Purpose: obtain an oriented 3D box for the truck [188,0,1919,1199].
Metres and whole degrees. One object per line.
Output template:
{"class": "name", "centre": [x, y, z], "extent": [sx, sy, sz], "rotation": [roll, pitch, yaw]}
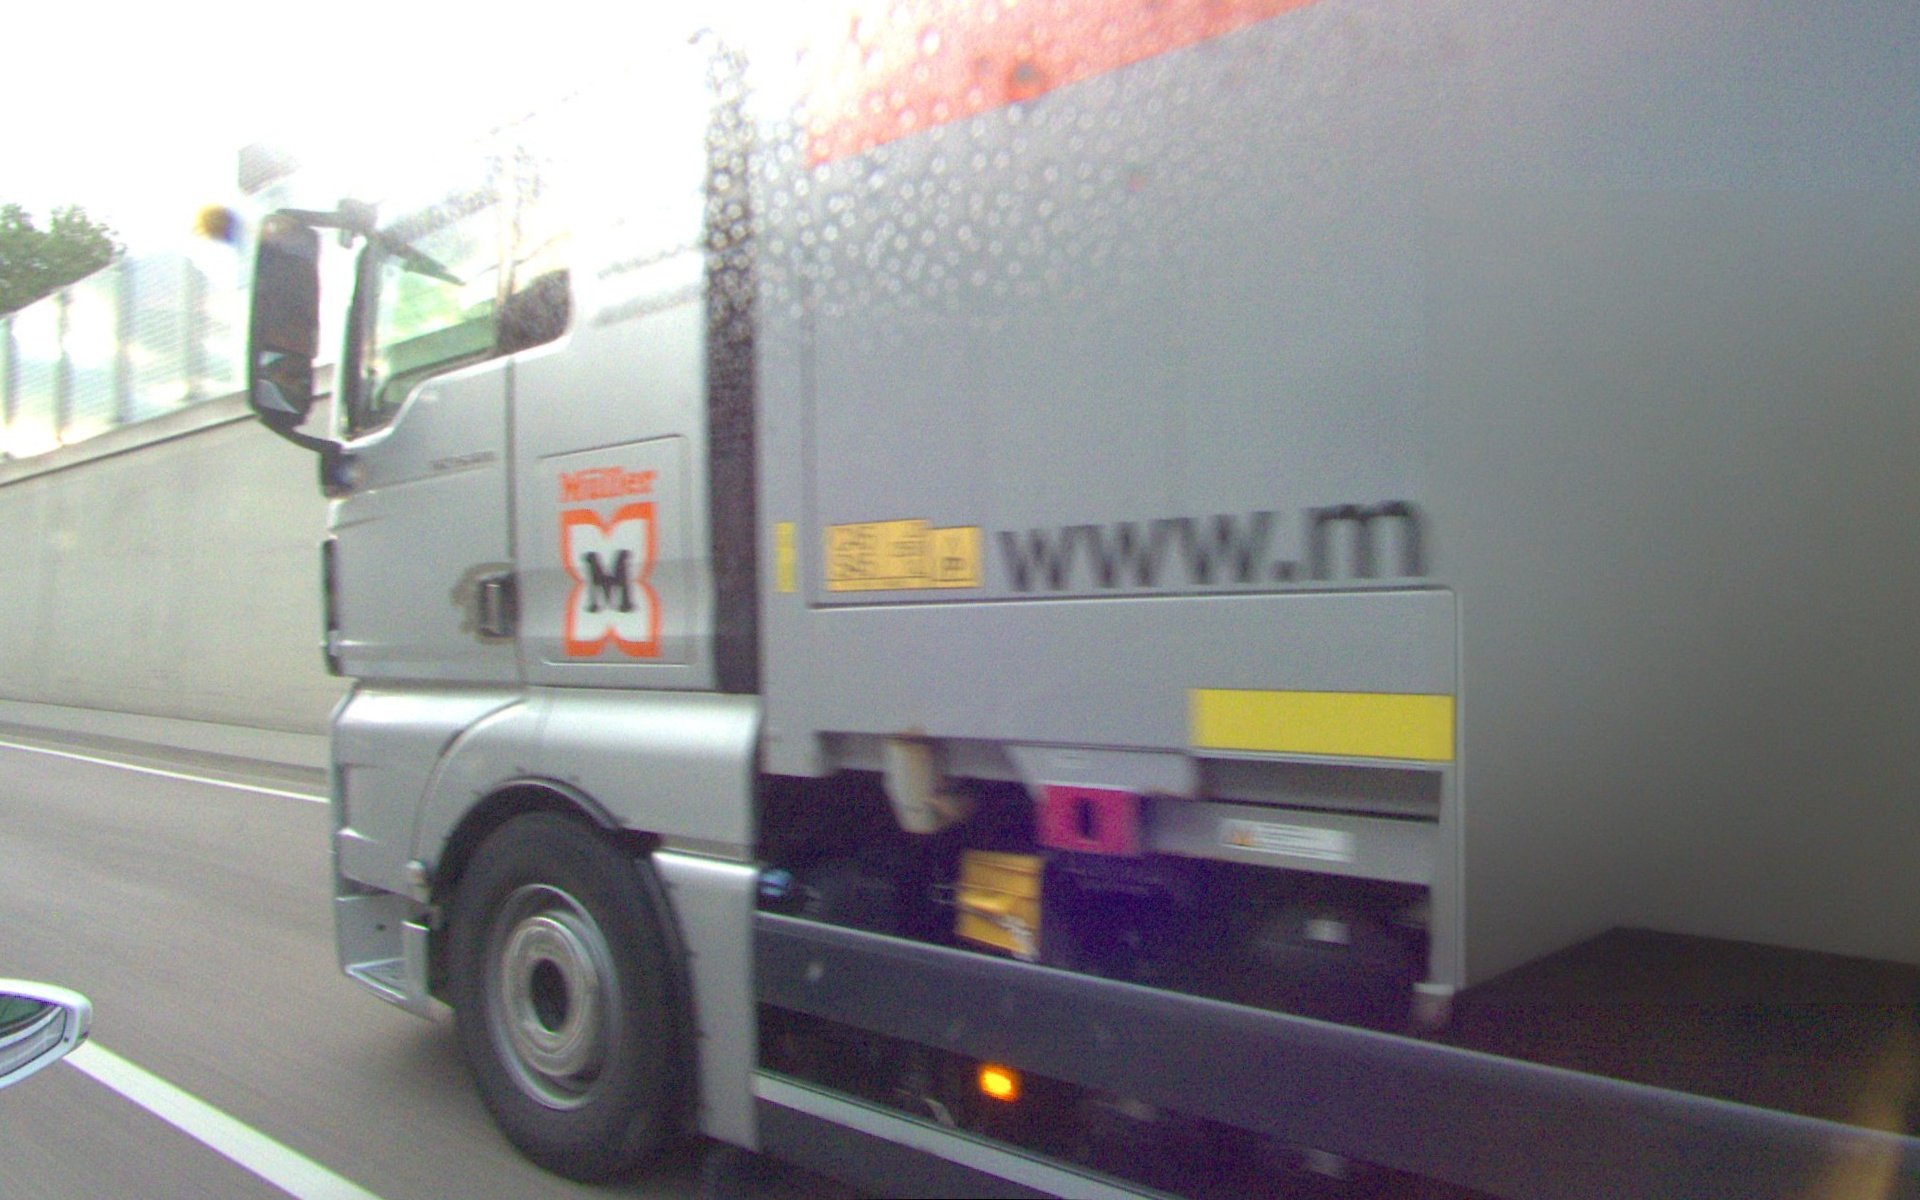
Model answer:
{"class": "truck", "centre": [2.242, -0.562, 1.969], "extent": [9.769, 3.964, 2.883], "rotation": [-1, -1, 33]}
